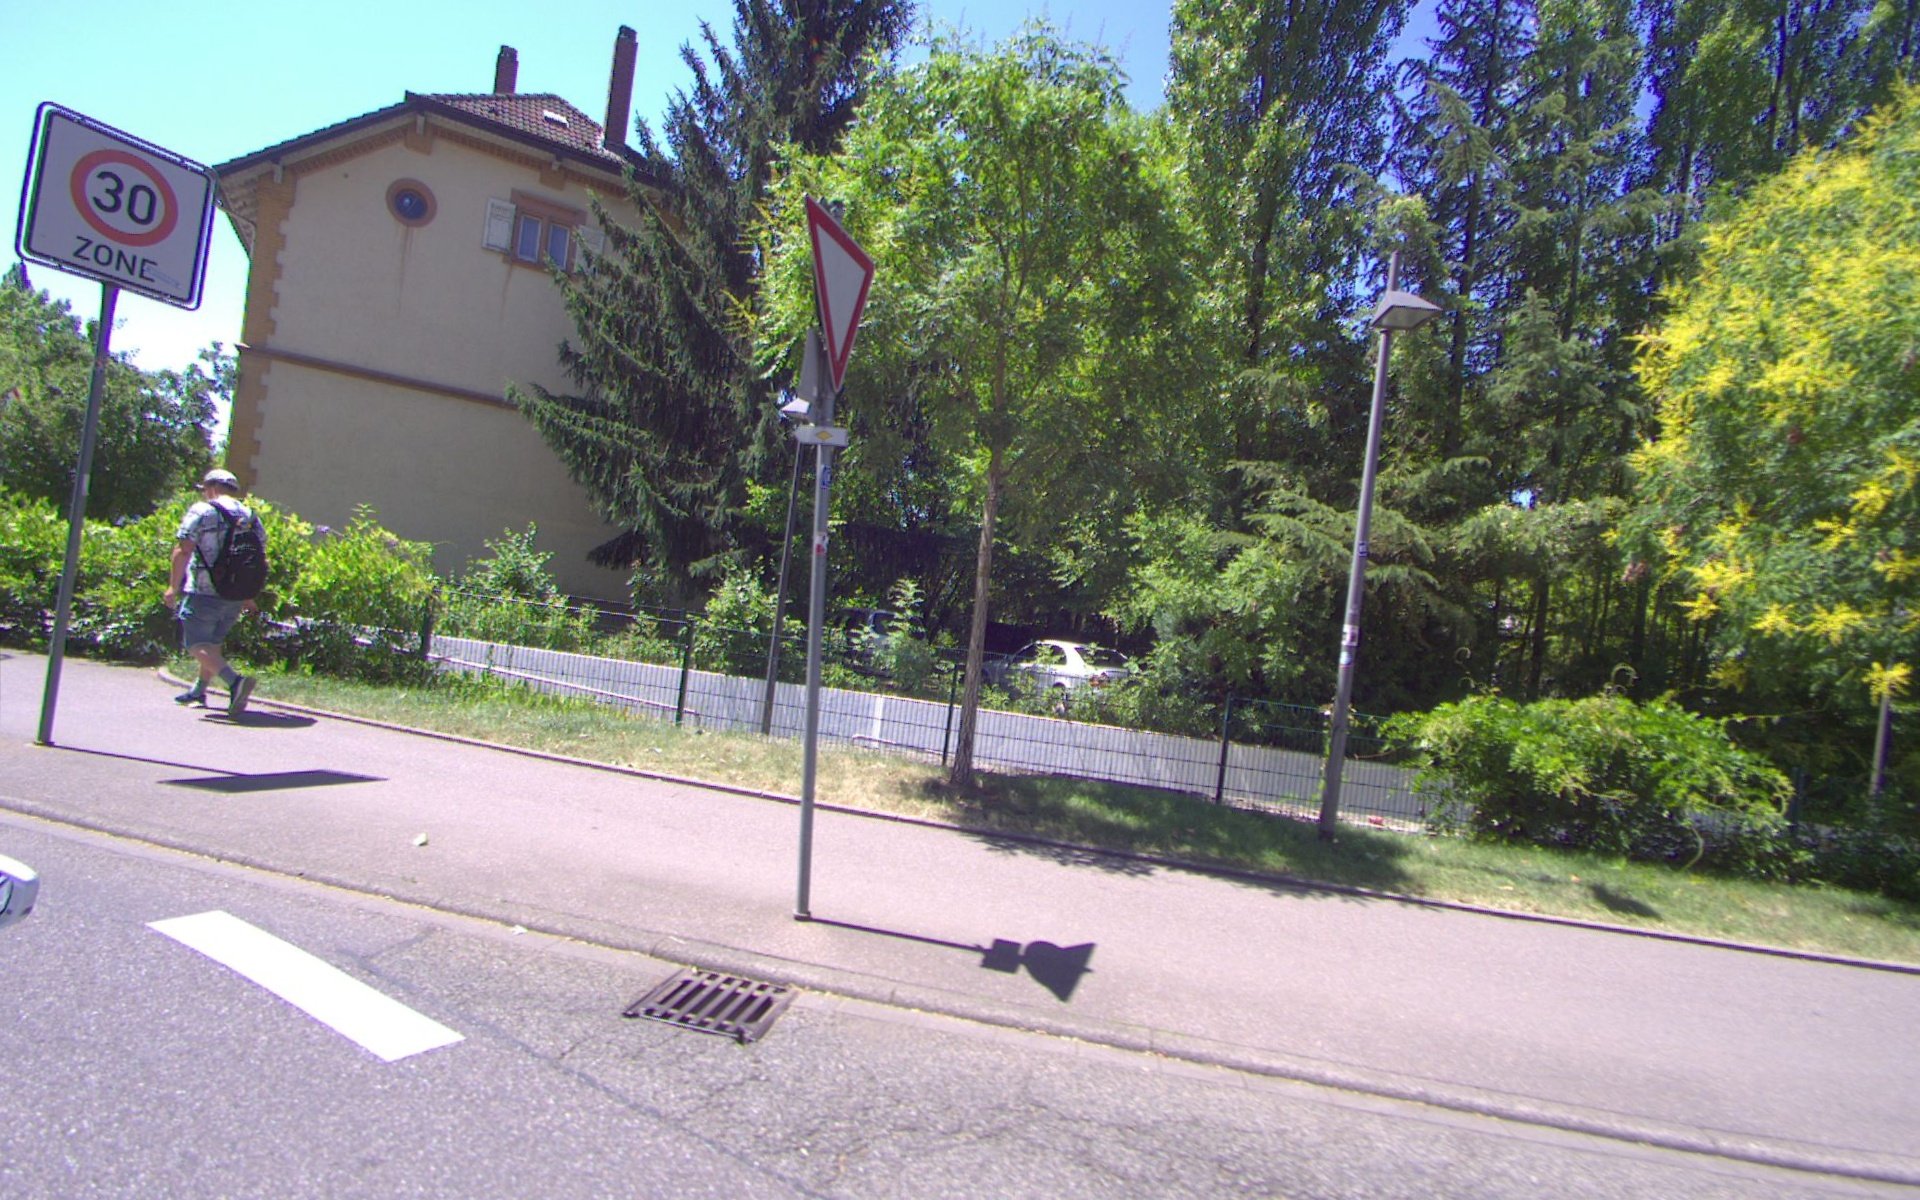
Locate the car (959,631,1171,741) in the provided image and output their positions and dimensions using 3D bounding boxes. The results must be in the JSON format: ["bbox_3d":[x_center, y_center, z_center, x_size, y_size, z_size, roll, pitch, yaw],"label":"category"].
[{"bbox_3d":[1.897,1.599,19.671,1.751,1.517,4.467,8,-1,-29],"label":"car"}]

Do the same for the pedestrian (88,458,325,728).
[{"bbox_3d":[-5.532,-0.040,7.427,0.898,1.793,0.915,7,0,21],"label":"pedestrian"}]

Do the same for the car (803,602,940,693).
[{"bbox_3d":[-2.060,0.997,22.383,1.635,1.554,3.946,8,-1,-25],"label":"car"}]
